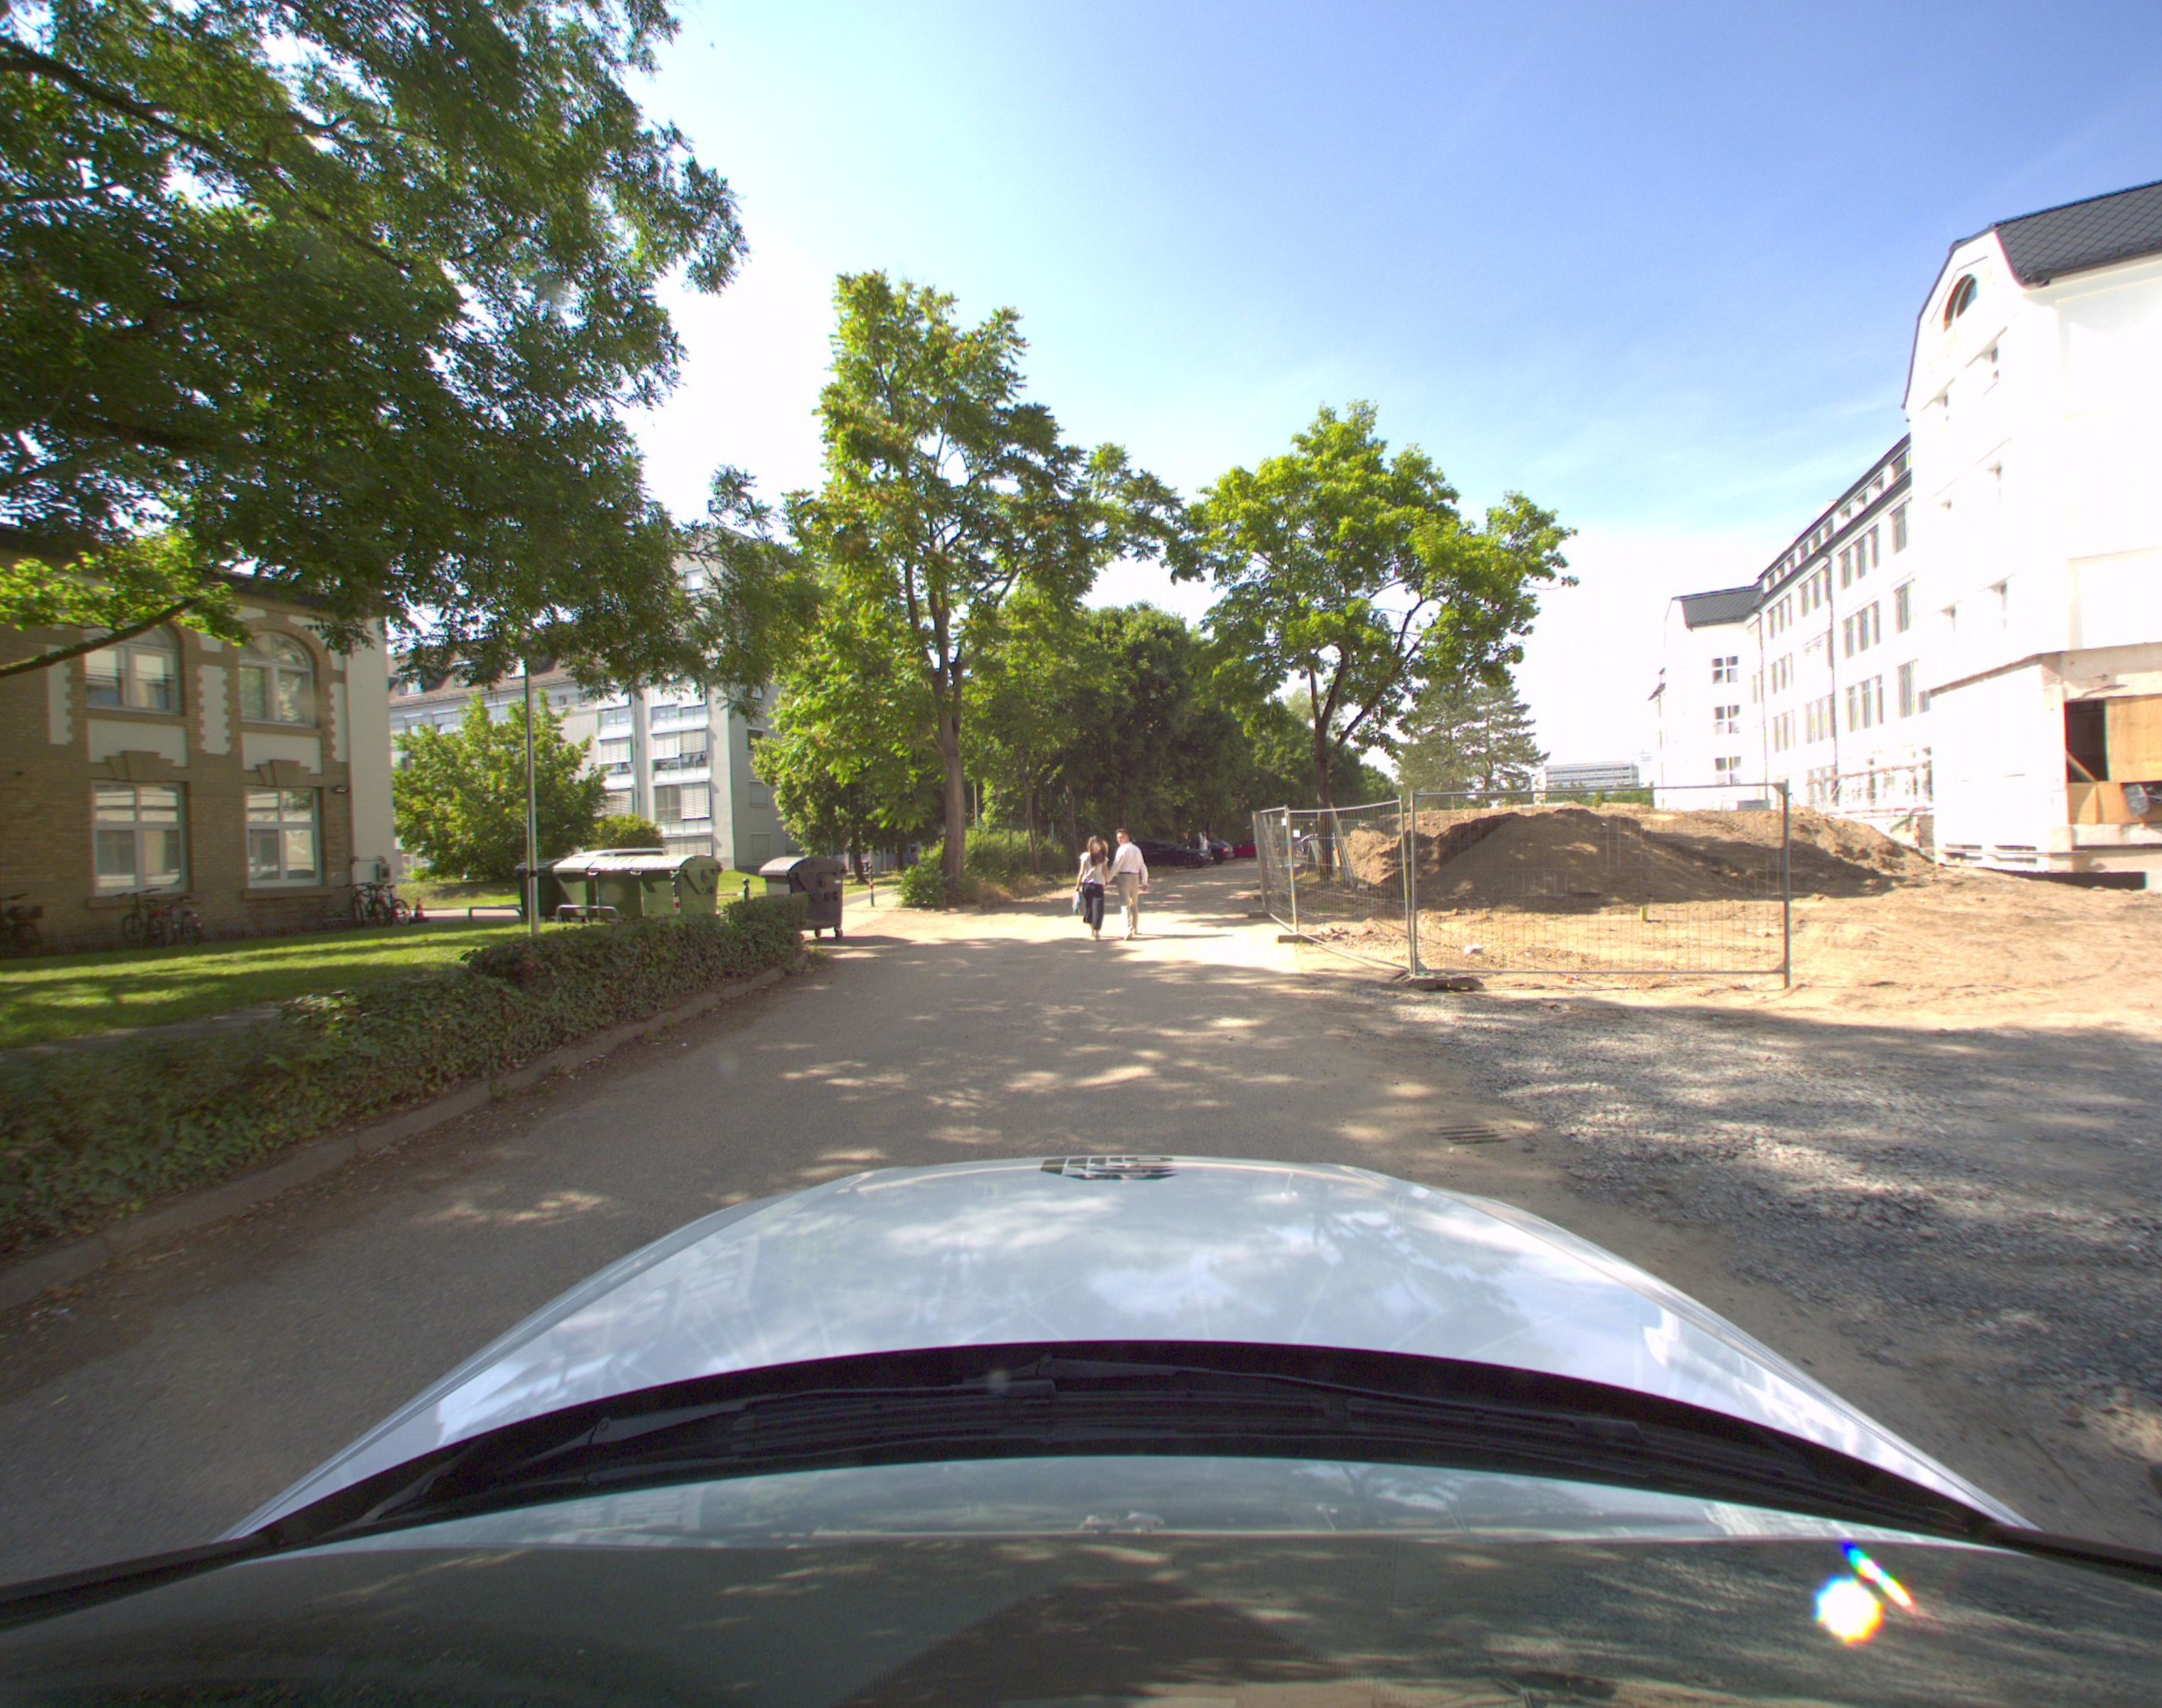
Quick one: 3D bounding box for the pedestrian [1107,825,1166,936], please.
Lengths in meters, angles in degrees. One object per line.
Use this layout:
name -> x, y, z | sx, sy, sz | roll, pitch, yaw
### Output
pedestrian -> 0.895, 0.404, 13.333 | 0.754, 1.727, 0.852 | -2, 1, -8

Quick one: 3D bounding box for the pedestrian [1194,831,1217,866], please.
pedestrian -> 6.494, -0.303, 42.391 | 1.005, 1.781, 0.824 | -2, 1, 20

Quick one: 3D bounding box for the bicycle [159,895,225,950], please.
bicycle -> -17.378, 1.325, 15.917 | 1.664, 0.992, 0.449 | -1, 2, 29

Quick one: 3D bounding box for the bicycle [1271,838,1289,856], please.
bicycle -> 15.029, -0.562, 61.515 | 0.707, 1.284, 2.808 | -2, 1, 26

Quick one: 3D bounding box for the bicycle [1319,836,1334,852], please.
bicycle -> 21.446, -0.869, 71.083 | 0.809, 1.284, 2.763 | -2, 1, 26

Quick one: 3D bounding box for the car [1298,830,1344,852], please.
car -> 23.753, -1.240, 80.561 | 3.949, 2.013, 1.779 | -1, 1, 29

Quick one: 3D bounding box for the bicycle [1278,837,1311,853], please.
bicycle -> 18.775, -0.797, 71.541 | 2.652, 1.284, 0.823 | -2, 1, 20

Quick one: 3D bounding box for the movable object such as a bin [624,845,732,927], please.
movable object such as a bin -> -7.787, 0.607, 15.778 | 1.323, 1.481, 1.255 | -2, 1, 21

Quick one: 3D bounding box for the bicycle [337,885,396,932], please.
bicycle -> -16.259, 1.226, 18.516 | 1.609, 0.992, 0.449 | -1, 2, 29

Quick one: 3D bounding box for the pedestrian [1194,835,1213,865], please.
pedestrian -> 6.841, -0.239, 45.499 | 0.917, 1.595, 0.790 | -2, 2, 18

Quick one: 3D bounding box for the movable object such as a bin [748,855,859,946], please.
movable object such as a bin -> -4.720, 0.748, 13.856 | 1.386, 1.396, 1.256 | -2, 1, 44

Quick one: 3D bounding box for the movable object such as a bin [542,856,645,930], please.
movable object such as a bin -> -10.215, 0.795, 17.083 | 1.349, 1.431, 1.256 | -2, 1, 26

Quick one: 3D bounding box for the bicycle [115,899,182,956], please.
bicycle -> -17.637, 1.372, 15.399 | 1.645, 0.992, 0.449 | -1, 2, 29

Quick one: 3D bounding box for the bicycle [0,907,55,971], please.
bicycle -> -18.336, 1.450, 14.091 | 1.521, 0.992, 0.449 | -1, 2, 29

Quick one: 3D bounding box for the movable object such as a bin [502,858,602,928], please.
movable object such as a bin -> -11.533, 0.835, 17.782 | 1.333, 1.431, 1.256 | -2, 1, 26

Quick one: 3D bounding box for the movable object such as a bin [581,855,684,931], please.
movable object such as a bin -> -9.016, 0.768, 16.417 | 1.210, 1.431, 1.254 | -2, 1, 16

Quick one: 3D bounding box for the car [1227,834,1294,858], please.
car -> 12.700, -0.540, 57.522 | 4.247, 1.524, 1.903 | -2, 1, 24

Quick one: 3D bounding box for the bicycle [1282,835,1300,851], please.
bicycle -> 17.011, -0.901, 65.865 | 0.809, 1.284, 2.700 | -2, 1, 26

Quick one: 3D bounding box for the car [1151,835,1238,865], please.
car -> 6.592, -0.236, 47.116 | 4.619, 1.584, 2.010 | -2, 2, 17

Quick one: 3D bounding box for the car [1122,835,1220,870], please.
car -> 4.594, -0.074, 41.517 | 4.619, 1.584, 2.010 | -2, 2, 17

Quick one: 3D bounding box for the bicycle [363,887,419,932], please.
bicycle -> -16.084, 1.282, 18.979 | 1.521, 0.992, 0.449 | -1, 2, 29

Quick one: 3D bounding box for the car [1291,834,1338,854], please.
car -> 22.325, -0.927, 77.908 | 3.949, 1.771, 1.779 | -1, 1, 29

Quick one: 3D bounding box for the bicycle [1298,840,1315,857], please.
bicycle -> 17.837, -0.448, 64.368 | 0.707, 1.284, 2.653 | -2, 1, 26

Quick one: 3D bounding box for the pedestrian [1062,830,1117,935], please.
pedestrian -> 0.128, 0.446, 13.329 | 0.735, 1.639, 0.779 | -2, 1, -8

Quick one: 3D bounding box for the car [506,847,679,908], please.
car -> -17.664, 0.790, 29.750 | 1.975, 1.933, 5.071 | -2, 1, 28

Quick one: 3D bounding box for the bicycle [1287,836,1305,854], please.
bicycle -> 15.856, -0.695, 59.999 | 0.707, 1.284, 2.700 | -2, 1, 26
